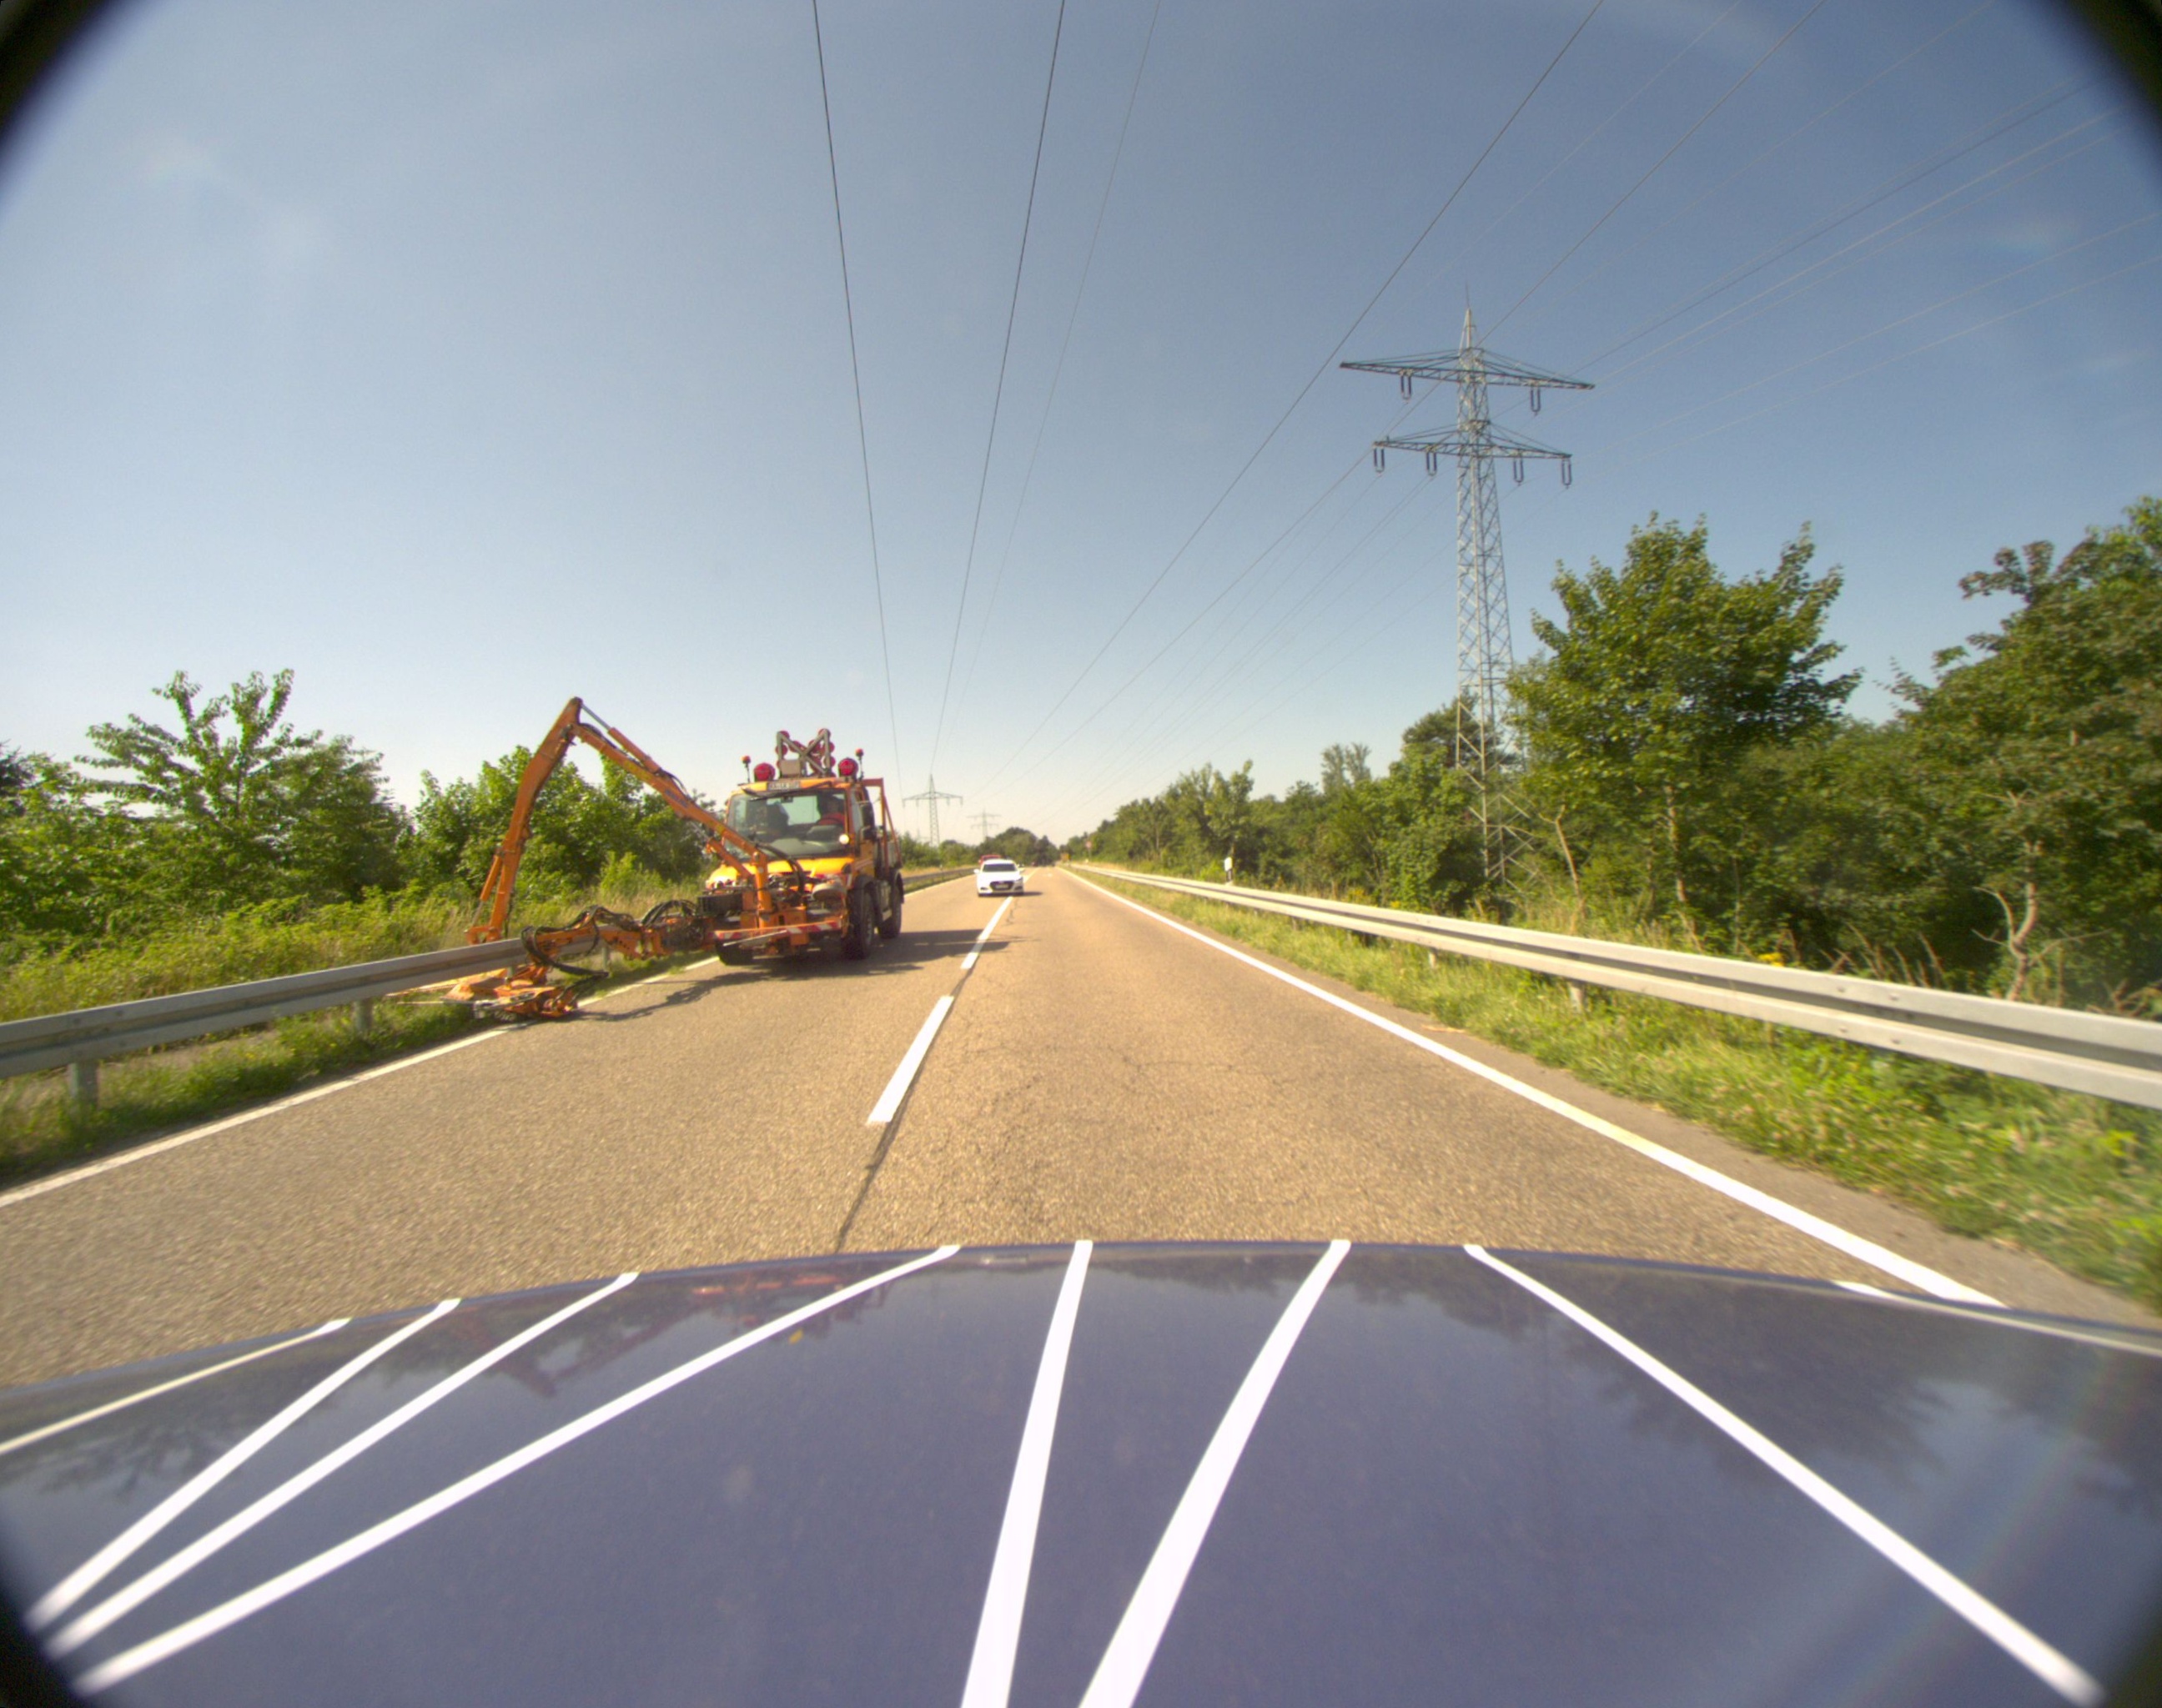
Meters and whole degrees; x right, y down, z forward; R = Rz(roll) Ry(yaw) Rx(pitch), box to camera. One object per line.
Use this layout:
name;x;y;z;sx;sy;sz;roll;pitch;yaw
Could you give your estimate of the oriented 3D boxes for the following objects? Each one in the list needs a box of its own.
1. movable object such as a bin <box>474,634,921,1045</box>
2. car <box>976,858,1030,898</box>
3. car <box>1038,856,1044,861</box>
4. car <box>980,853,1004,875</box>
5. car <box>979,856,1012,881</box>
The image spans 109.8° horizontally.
movable object such as a bin;-4.605;-0.146;11.945;2.761;3.817;9.441;-2;0;-5
car;-3.399;0.945;32.187;1.924;1.496;4.789;-2;0;-9
car;-12.089;1.421;230.605;1.834;1.574;3.998;-1;0;-4
car;-8.358;0.890;71.760;2.127;1.934;5.016;-2;0;-6
car;-5.851;0.980;51.640;1.924;1.540;4.789;-2;0;-9
